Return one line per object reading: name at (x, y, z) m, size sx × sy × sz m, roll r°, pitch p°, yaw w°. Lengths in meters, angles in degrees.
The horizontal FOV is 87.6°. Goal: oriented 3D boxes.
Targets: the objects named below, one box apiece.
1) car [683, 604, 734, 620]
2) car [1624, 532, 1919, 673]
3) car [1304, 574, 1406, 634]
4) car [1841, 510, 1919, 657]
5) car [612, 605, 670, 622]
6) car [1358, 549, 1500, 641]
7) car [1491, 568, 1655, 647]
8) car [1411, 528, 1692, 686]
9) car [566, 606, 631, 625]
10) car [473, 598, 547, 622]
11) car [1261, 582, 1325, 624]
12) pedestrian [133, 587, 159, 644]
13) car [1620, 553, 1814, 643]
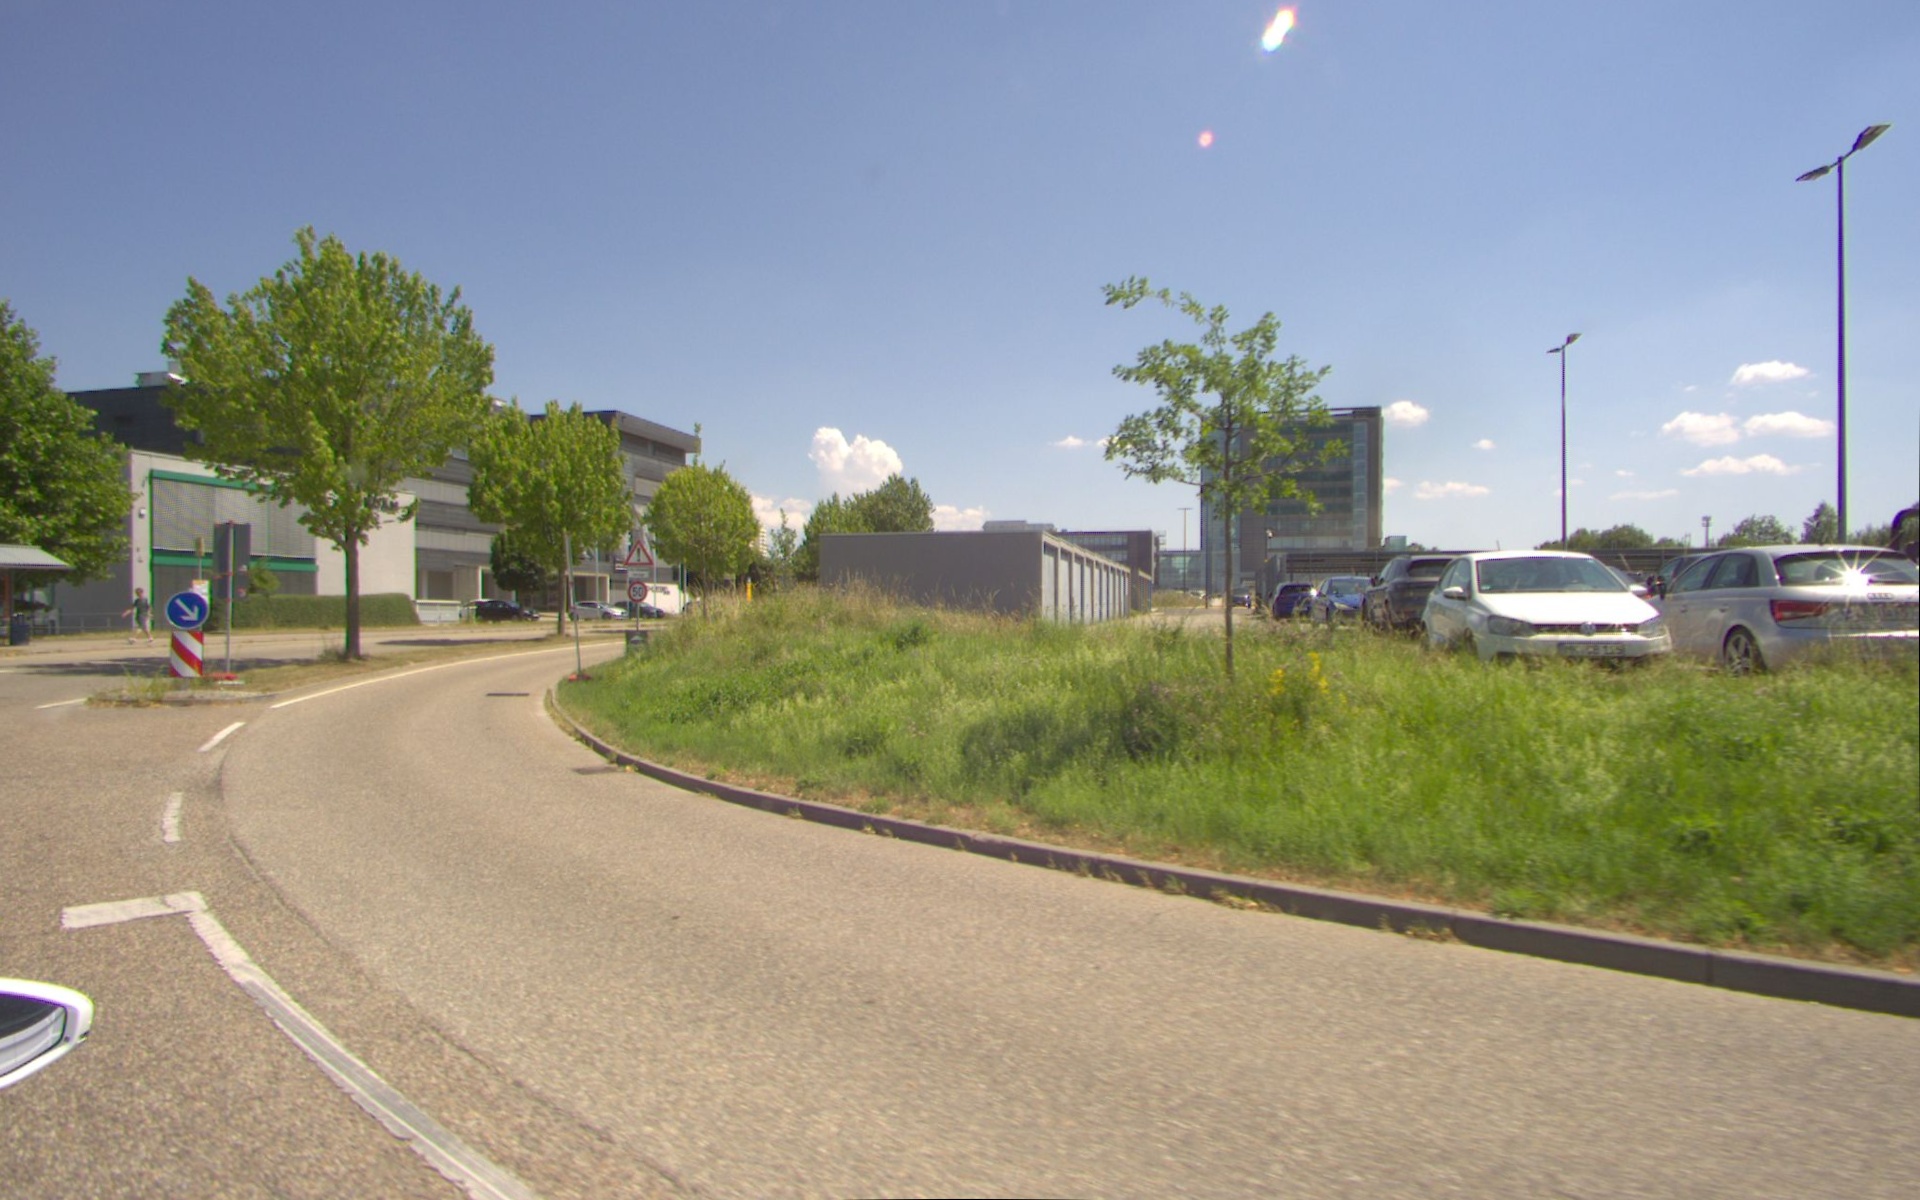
car at (-21.219, 1.002, 84.462) m, size 3.820 × 1.291 × 1.703 m, roll -1°, pitch 1°, yaw 14°
car at (8.375, 0.047, 10.358) m, size 1.474 × 1.197 × 3.268 m, roll -2°, pitch -1°, yaw 14°
car at (10.262, 0.096, 26.242) m, size 1.621 × 1.465 × 3.638 m, roll 0°, pitch 0°, yaw 7°
car at (10.842, -0.214, 9.920) m, size 1.844 × 1.547 × 3.742 m, roll -2°, pitch -1°, yaw 19°
car at (-24.060, 1.023, 75.486) m, size 3.820 × 1.198 × 1.703 m, roll -1°, pitch 1°, yaw 14°
car at (9.656, -0.028, 20.977) m, size 1.744 × 1.712 × 4.602 m, roll 0°, pitch -2°, yaw 13°
car at (12.011, 0.125, 19.884) m, size 1.622 × 1.381 × 3.844 m, roll -1°, pitch 0°, yaw 13°
car at (5.980, 0.101, 10.614) m, size 1.546 × 1.314 × 3.874 m, roll -2°, pitch -1°, yaw 15°
car at (-25.349, 1.125, 70.283) m, size 4.197 × 1.197 × 1.493 m, roll -2°, pitch -3°, yaw 14°
car at (-27.267, 0.588, 60.730) m, size 3.846 × 1.398 × 1.703 m, roll -1°, pitch 1°, yaw 14°
car at (12.131, 0.102, 36.671) m, size 1.556 × 1.428 × 3.474 m, roll 0°, pitch 0°, yaw 7°
pedestrian at (-24.894, 0.483, 30.621) m, size 0.573 × 1.691 × 0.526 m, roll -3°, pitch -3°, yaw 42°
car at (14.868, -0.045, 19.921) m, size 1.736 × 1.619 × 3.635 m, roll -1°, pitch 1°, yaw 13°
